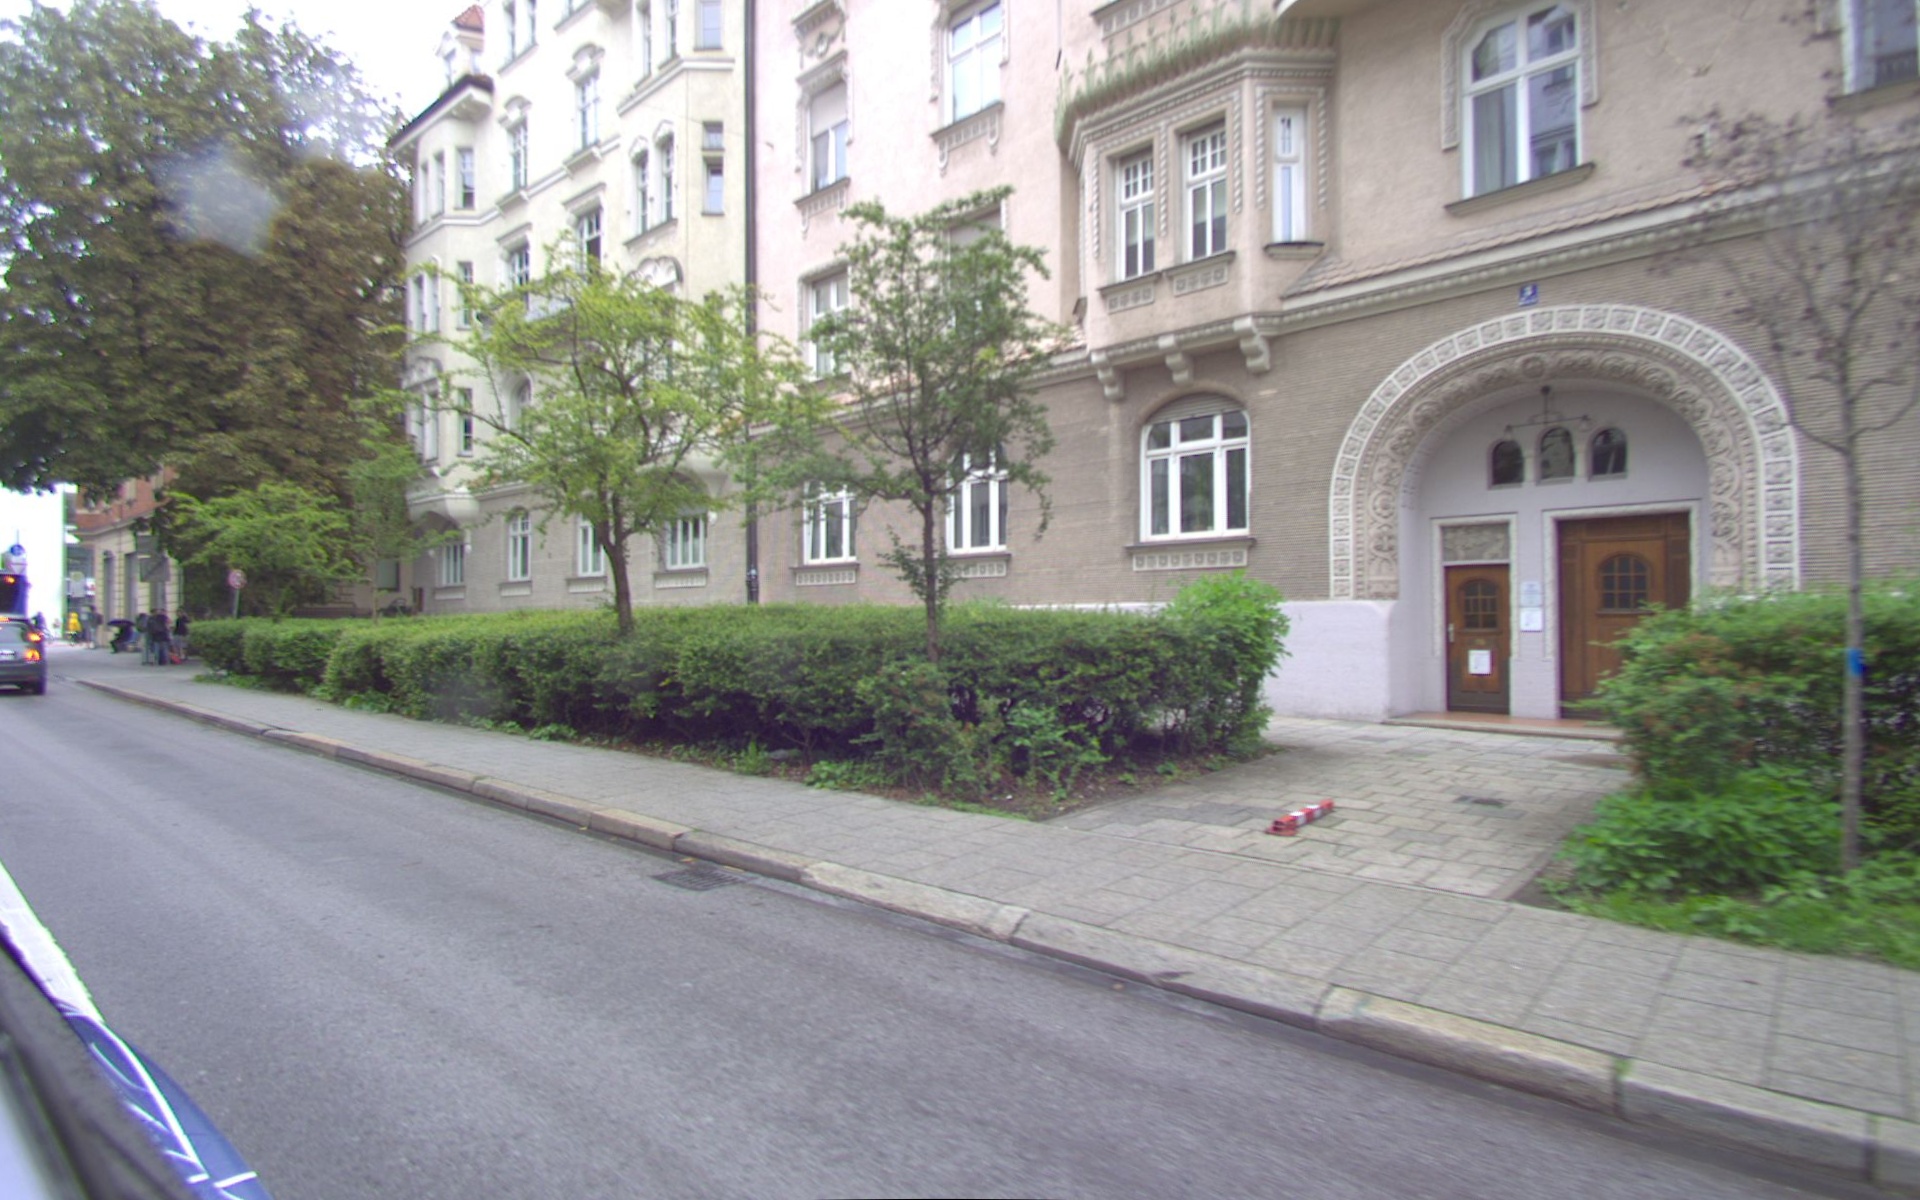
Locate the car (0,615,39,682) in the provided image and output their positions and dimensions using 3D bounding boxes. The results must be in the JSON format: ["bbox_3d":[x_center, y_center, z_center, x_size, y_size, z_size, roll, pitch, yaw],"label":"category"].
[{"bbox_3d":[-25.245,1.219,26.105,4.272,1.657,1.749,-1,-2,42],"label":"car"}]

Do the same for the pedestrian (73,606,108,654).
[{"bbox_3d":[-37.386,1.292,43.515,0.769,2.029,0.831,0,-1,-1],"label":"pedestrian"}]

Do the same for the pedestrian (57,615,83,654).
[{"bbox_3d":[-47.164,1.828,53.638,0.938,2.029,1.399,1,-2,-38],"label":"pedestrian"}]

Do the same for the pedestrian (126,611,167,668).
[{"bbox_3d":[-25.684,1.222,31.947,0.910,1.758,0.864,-1,-2,41],"label":"pedestrian"}]

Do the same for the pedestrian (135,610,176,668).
[{"bbox_3d":[-24.974,1.205,31.408,0.786,1.758,0.864,-1,-2,41],"label":"pedestrian"}]

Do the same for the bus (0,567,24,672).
[{"bbox_3d":[-32.165,0.643,32.363,8.922,3.124,2.551,-1,-2,43],"label":"bus"}]

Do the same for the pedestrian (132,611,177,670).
[{"bbox_3d":[-24.443,1.208,30.710,0.847,1.758,0.898,-1,-2,41],"label":"pedestrian"}]

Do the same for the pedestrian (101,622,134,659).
[{"bbox_3d":[-31.766,1.513,38.164,0.753,1.351,0.820,-1,-2,40],"label":"pedestrian"}]

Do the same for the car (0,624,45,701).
[{"bbox_3d":[-20.236,1.252,20.906,3.781,1.490,1.567,-1,-2,42],"label":"car"}]

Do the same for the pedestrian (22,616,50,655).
[{"bbox_3d":[-47.950,1.836,52.546,0.938,2.029,1.399,1,-2,-38],"label":"pedestrian"}]

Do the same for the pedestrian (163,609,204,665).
[{"bbox_3d":[-25.140,1.190,32.767,0.773,1.758,0.878,0,-1,-16],"label":"pedestrian"}]
